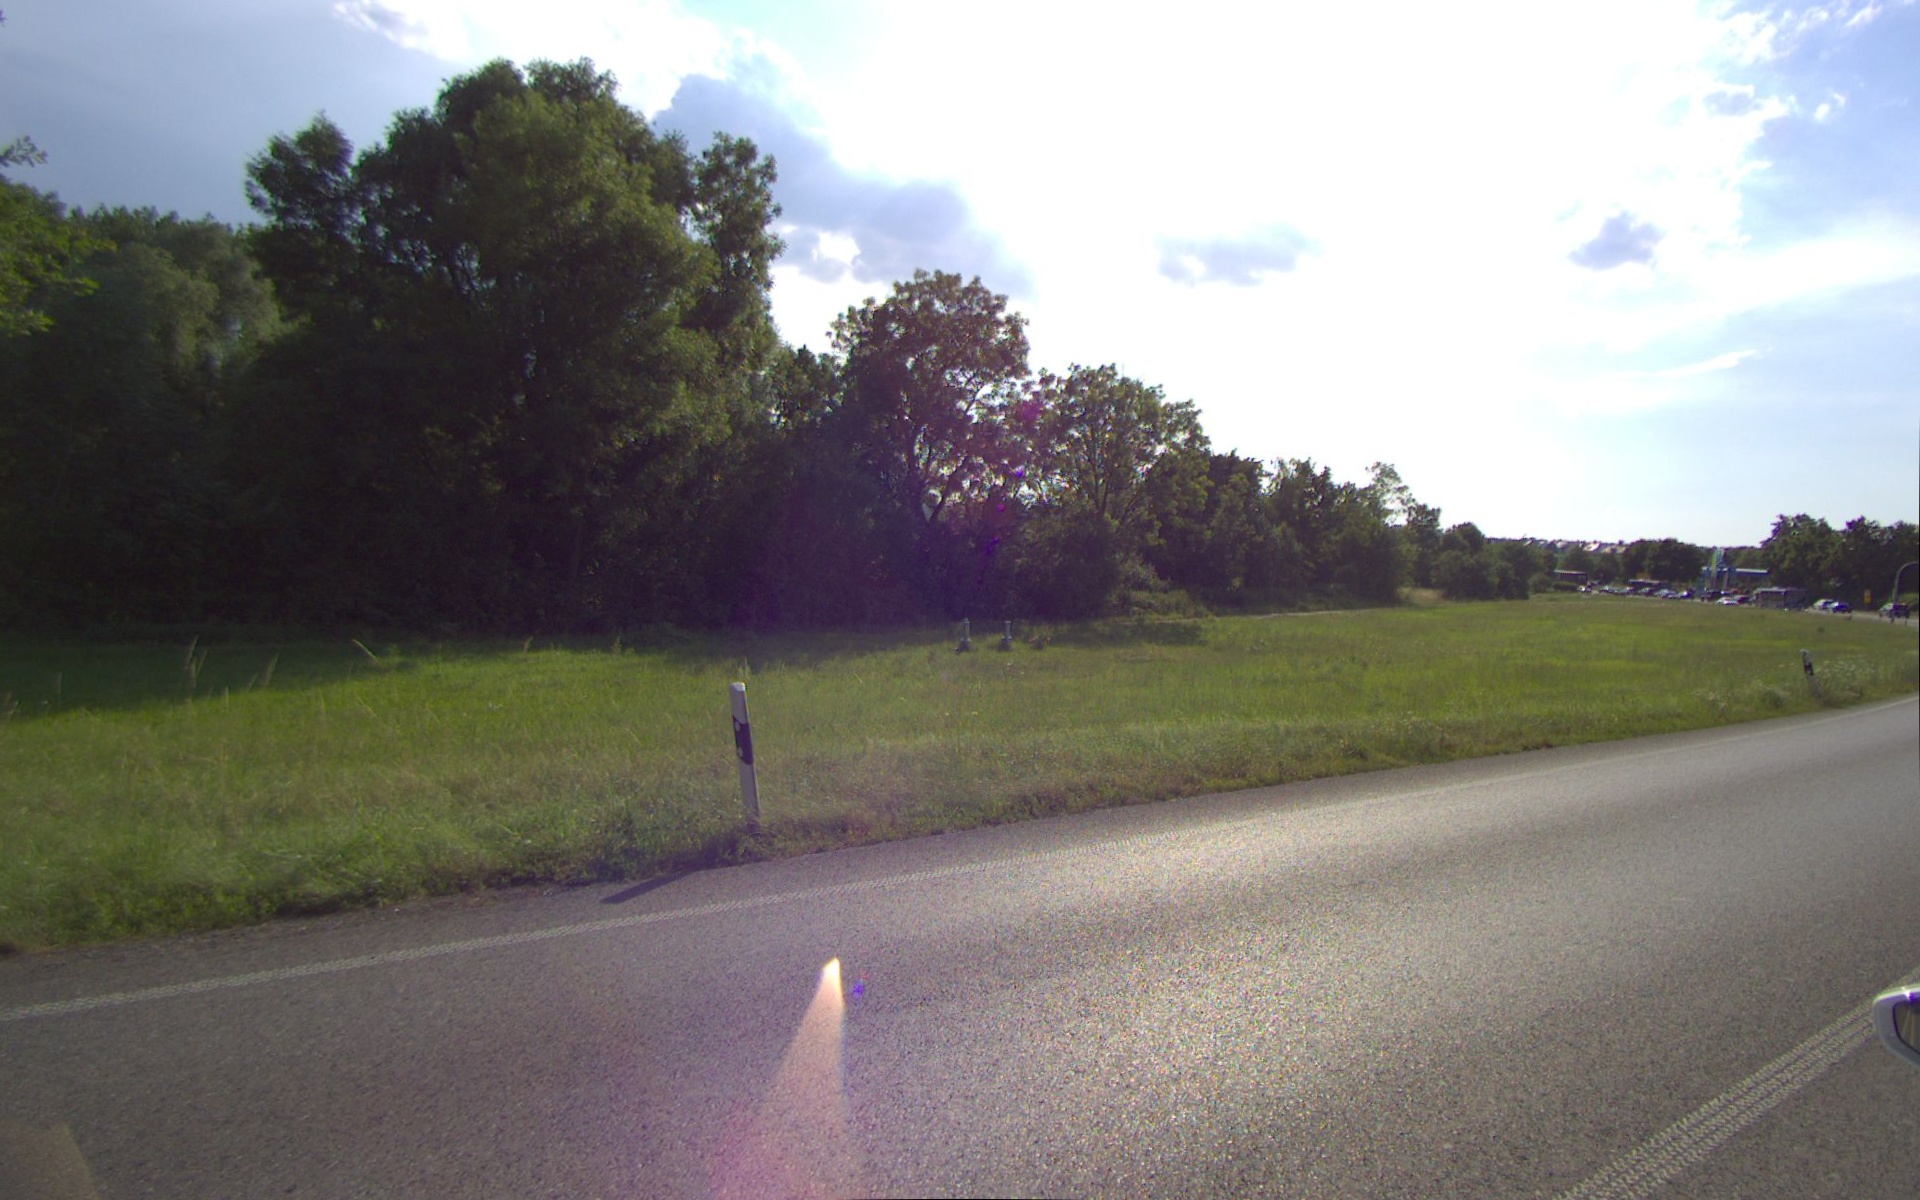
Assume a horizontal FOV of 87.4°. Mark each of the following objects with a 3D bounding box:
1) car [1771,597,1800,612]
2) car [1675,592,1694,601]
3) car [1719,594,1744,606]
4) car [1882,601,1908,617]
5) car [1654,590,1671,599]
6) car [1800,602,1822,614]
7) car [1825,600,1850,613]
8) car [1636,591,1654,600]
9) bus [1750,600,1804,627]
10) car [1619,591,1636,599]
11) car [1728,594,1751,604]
[{"bbox_3d":[96.814,0.537,117.837,1.813,1.678,3.995,2,0,27],"label":"car"},{"bbox_3d":[134.525,-0.732,186.621,2.052,1.621,3.996,2,1,25],"label":"car"},{"bbox_3d":[116.819,0.056,152.118,1.811,1.678,3.999,2,0,21],"label":"car"},{"bbox_3d":[108.335,1.063,116.406,1.499,1.678,3.861,2,0,34],"label":"car"},{"bbox_3d":[135.089,-1.013,193.120,1.851,1.621,3.998,2,1,22],"label":"car"},{"bbox_3d":[121.652,1.200,143.662,1.654,1.579,3.866,2,0,29],"label":"car"},{"bbox_3d":[115.836,0.861,132.633,1.654,1.579,3.866,2,0,29],"label":"car"},{"bbox_3d":[136.126,-0.942,199.631,1.850,1.621,4.000,2,1,18],"label":"car"},{"bbox_3d":[106.969,1.765,131.647,2.751,3.224,12.113,2,0,26],"label":"bus"},{"bbox_3d":[138.281,-1.041,208.222,1.850,1.621,4.000,2,1,18],"label":"car"},{"bbox_3d":[127.996,-0.166,164.929,2.052,1.621,3.996,2,1,25],"label":"car"}]
